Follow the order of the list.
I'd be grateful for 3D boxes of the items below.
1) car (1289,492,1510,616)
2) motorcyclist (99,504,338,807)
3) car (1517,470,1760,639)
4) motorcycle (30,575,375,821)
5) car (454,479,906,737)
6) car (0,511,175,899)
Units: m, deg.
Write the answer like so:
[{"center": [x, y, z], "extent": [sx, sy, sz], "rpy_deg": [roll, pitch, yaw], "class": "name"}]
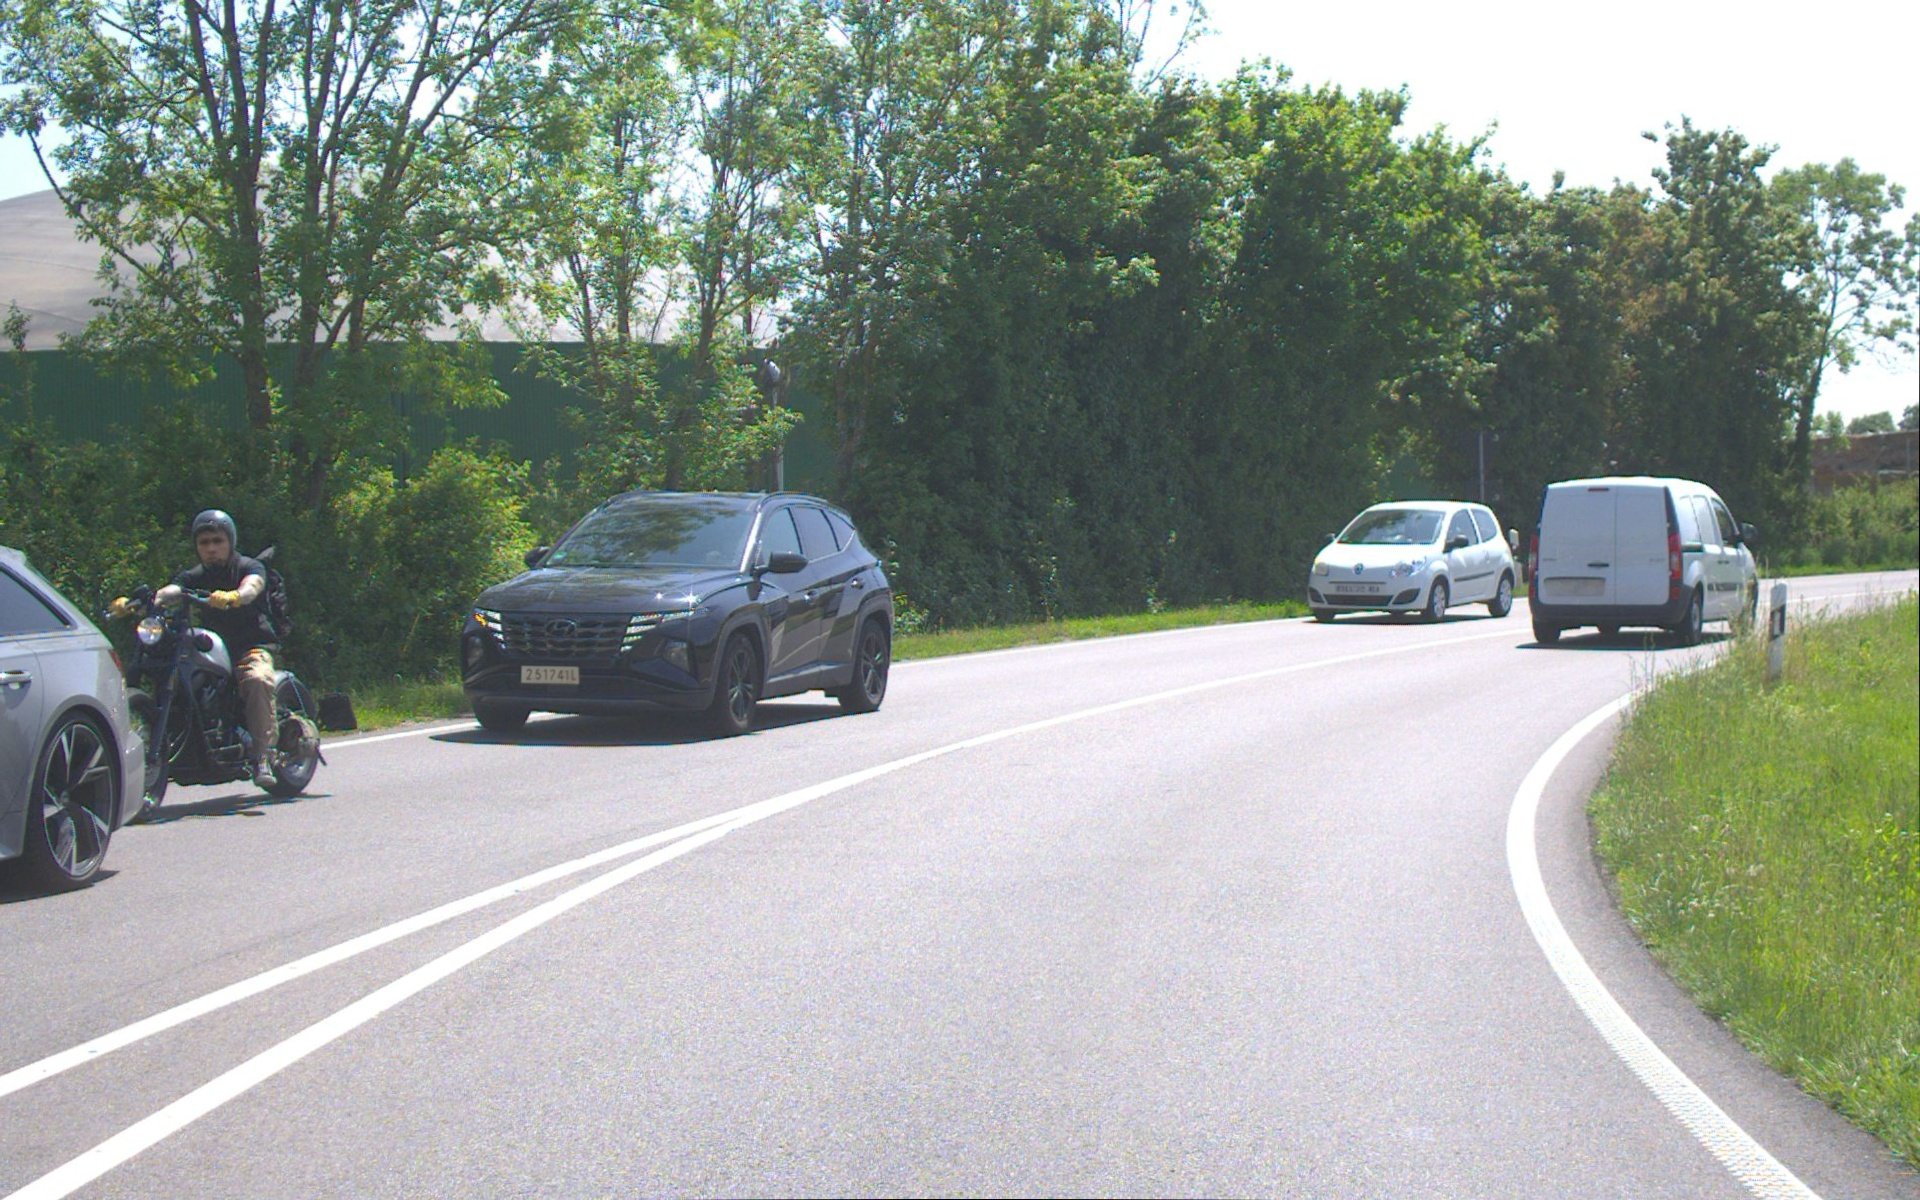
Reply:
[{"center": [5.526, -0.585, 42.908], "extent": [1.539, 1.438, 3.602], "rpy_deg": [2, 2, 28], "class": "car"}, {"center": [-3.766, 0.265, 17.535], "extent": [0.781, 1.490, 1.130], "rpy_deg": [-1, 1, 12], "class": "motorcyclist"}, {"center": [7.506, -0.505, 37.801], "extent": [1.906, 1.726, 3.818], "rpy_deg": [-1, 1, 22], "class": "car"}, {"center": [-3.790, 0.452, 17.456], "extent": [0.782, 1.119, 2.428], "rpy_deg": [1, 1, 12], "class": "motorcycle"}, {"center": [-1.850, -0.025, 24.103], "extent": [1.703, 1.632, 4.246], "rpy_deg": [1, 2, 17], "class": "car"}, {"center": [-4.696, 0.425, 12.242], "extent": [1.842, 1.455, 4.807], "rpy_deg": [0, 2, 12], "class": "car"}]
